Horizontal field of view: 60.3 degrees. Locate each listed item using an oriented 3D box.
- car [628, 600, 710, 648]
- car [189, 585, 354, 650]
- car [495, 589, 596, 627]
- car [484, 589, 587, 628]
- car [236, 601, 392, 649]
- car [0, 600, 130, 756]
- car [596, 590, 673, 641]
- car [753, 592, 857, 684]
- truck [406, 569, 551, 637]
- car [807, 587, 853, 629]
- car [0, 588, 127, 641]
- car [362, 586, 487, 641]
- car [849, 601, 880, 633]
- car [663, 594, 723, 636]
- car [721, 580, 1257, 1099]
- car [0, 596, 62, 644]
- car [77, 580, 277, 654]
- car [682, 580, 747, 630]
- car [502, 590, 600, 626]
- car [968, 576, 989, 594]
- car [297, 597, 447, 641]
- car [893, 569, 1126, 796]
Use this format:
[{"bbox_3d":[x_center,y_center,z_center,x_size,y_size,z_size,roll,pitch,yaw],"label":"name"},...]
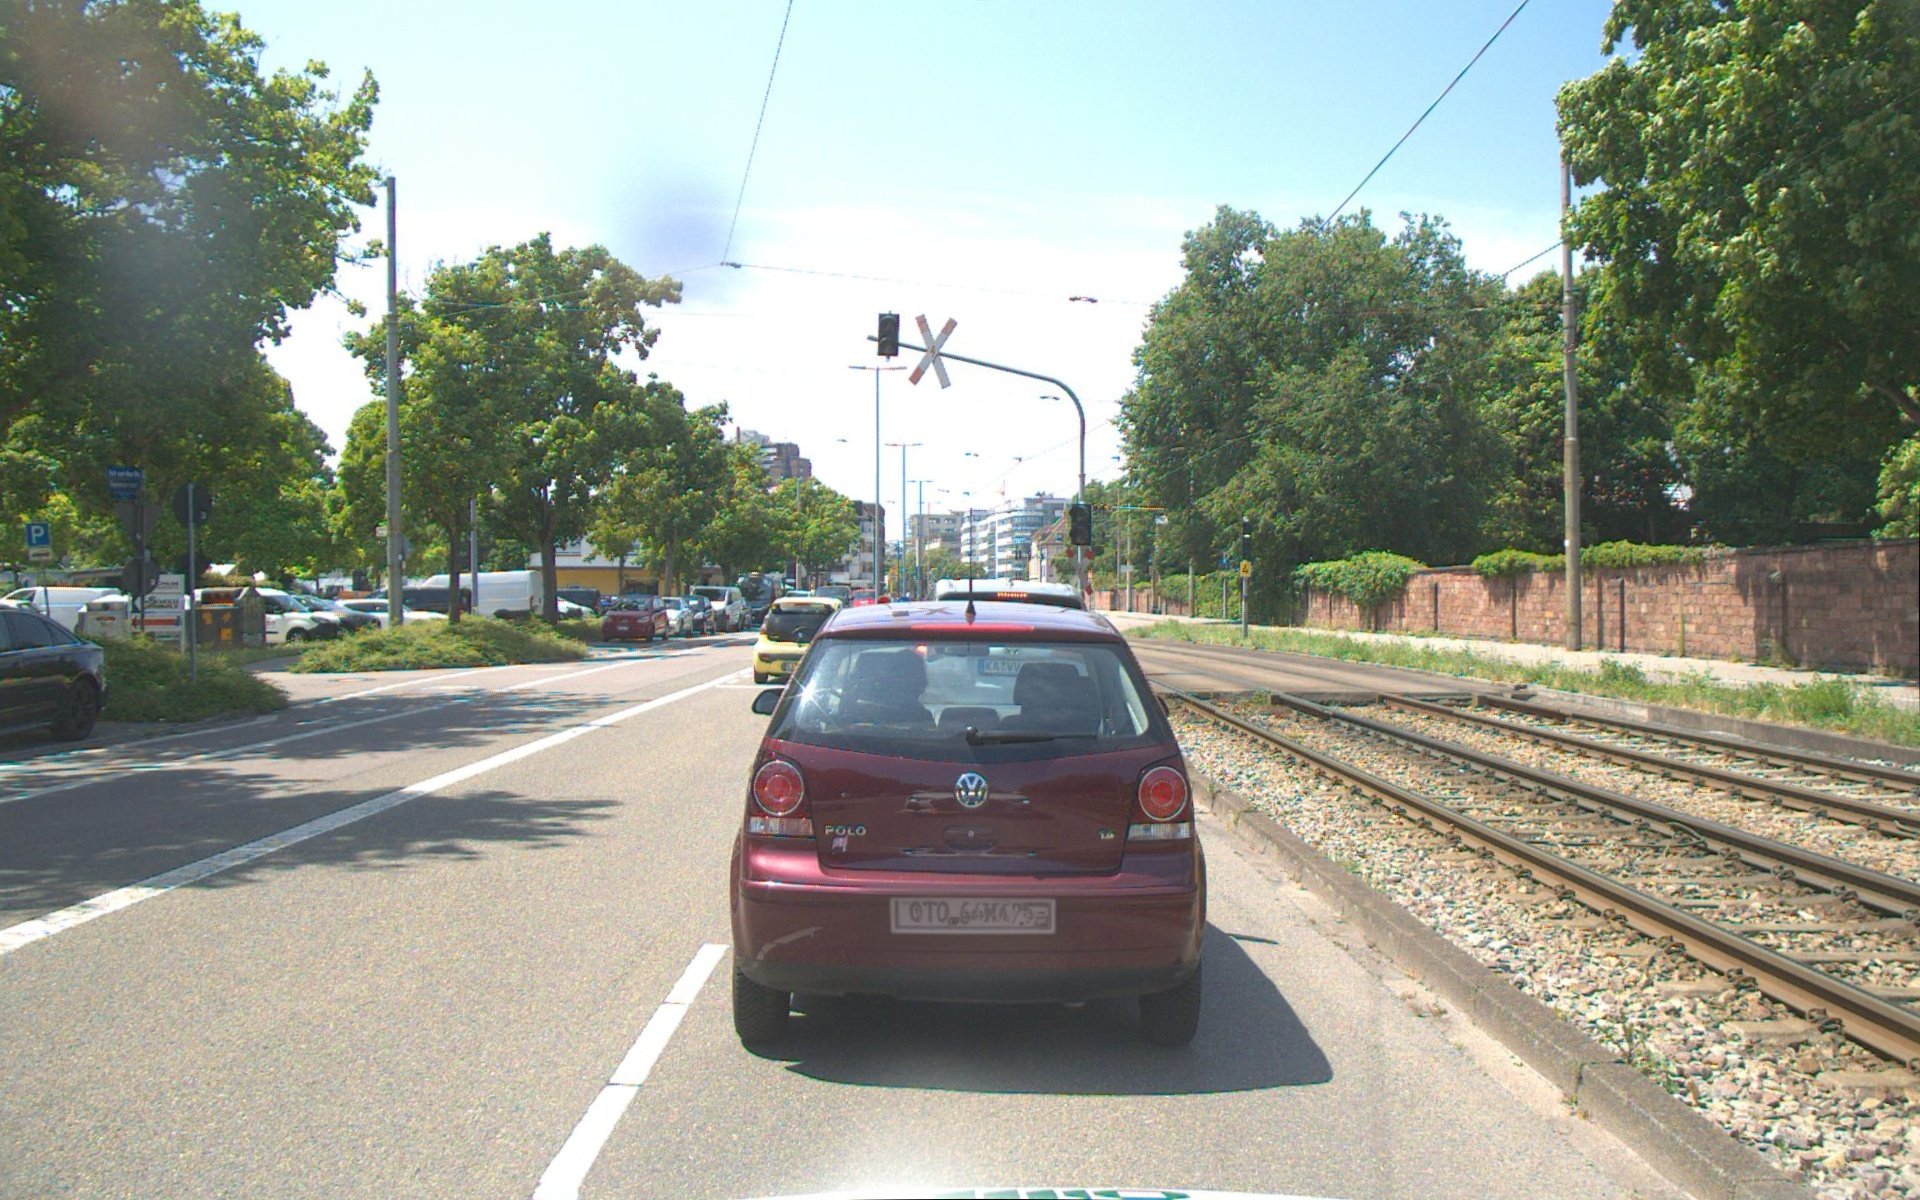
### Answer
[{"bbox_3d":[-10.630,0.847,60.728,1.683,1.451,4.774,-5,0,4],"label":"car"},{"bbox_3d":[-20.361,0.505,49.002,4.178,1.867,1.673,-1,0,1],"label":"car"},{"bbox_3d":[-20.920,0.404,83.606,4.623,1.845,1.796,-1,0,-2],"label":"car"},{"bbox_3d":[-20.865,0.406,81.425,4.623,1.845,1.796,-1,0,-2],"label":"car"},{"bbox_3d":[-20.313,0.763,52.161,4.114,1.428,2.079,-1,0,-5],"label":"car"},{"bbox_3d":[-10.235,0.758,16.309,1.856,1.482,4.807,1,0,-3],"label":"car"},{"bbox_3d":[-10.537,0.492,53.801,1.637,1.573,3.727,1,0,2],"label":"car"},{"bbox_3d":[-2.640,0.617,28.714,1.520,1.473,3.411,1,0,-1],"label":"car"},{"bbox_3d":[-20.583,0.136,70.844,5.463,2.808,2.432,-1,0,0],"label":"truck"},{"bbox_3d":[-6.309,0.355,80.553,1.879,1.944,4.570,-1,0,-1],"label":"car"},{"bbox_3d":[-32.827,0.524,60.152,4.044,1.852,1.970,0,0,-1],"label":"car"},{"bbox_3d":[-20.297,0.501,62.807,4.125,2.030,1.856,-1,0,-2],"label":"car"},{"bbox_3d":[-6.086,1.073,105.740,1.861,1.959,4.818,-1,0,-2],"label":"car"},{"bbox_3d":[-10.574,0.569,65.601,1.581,1.510,3.785,3,0,2],"label":"car"},{"bbox_3d":[0.060,0.707,6.931,1.577,1.524,3.999,1,0,-1],"label":"car"},{"bbox_3d":[-33.719,0.685,57.843,3.670,1.603,1.732,0,0,-1],"label":"car"},{"bbox_3d":[-20.880,0.434,44.291,4.361,1.889,2.059,-1,0,-5],"label":"car"},{"bbox_3d":[-10.493,0.198,70.988,1.824,1.971,4.806,3,0,2],"label":"car"},{"bbox_3d":[-21.206,0.407,85.864,4.623,1.845,1.796,-1,0,-2],"label":"car"},{"bbox_3d":[2.001,-1.595,181.314,1.881,1.944,4.566,-1,0,-5],"label":"car"},{"bbox_3d":[-21.225,0.667,59.845,4.665,1.514,2.057,-1,0,-2],"label":"car"},{"bbox_3d":[0.349,0.623,14.641,1.759,1.712,3.999,1,0,-1],"label":"car"}]
